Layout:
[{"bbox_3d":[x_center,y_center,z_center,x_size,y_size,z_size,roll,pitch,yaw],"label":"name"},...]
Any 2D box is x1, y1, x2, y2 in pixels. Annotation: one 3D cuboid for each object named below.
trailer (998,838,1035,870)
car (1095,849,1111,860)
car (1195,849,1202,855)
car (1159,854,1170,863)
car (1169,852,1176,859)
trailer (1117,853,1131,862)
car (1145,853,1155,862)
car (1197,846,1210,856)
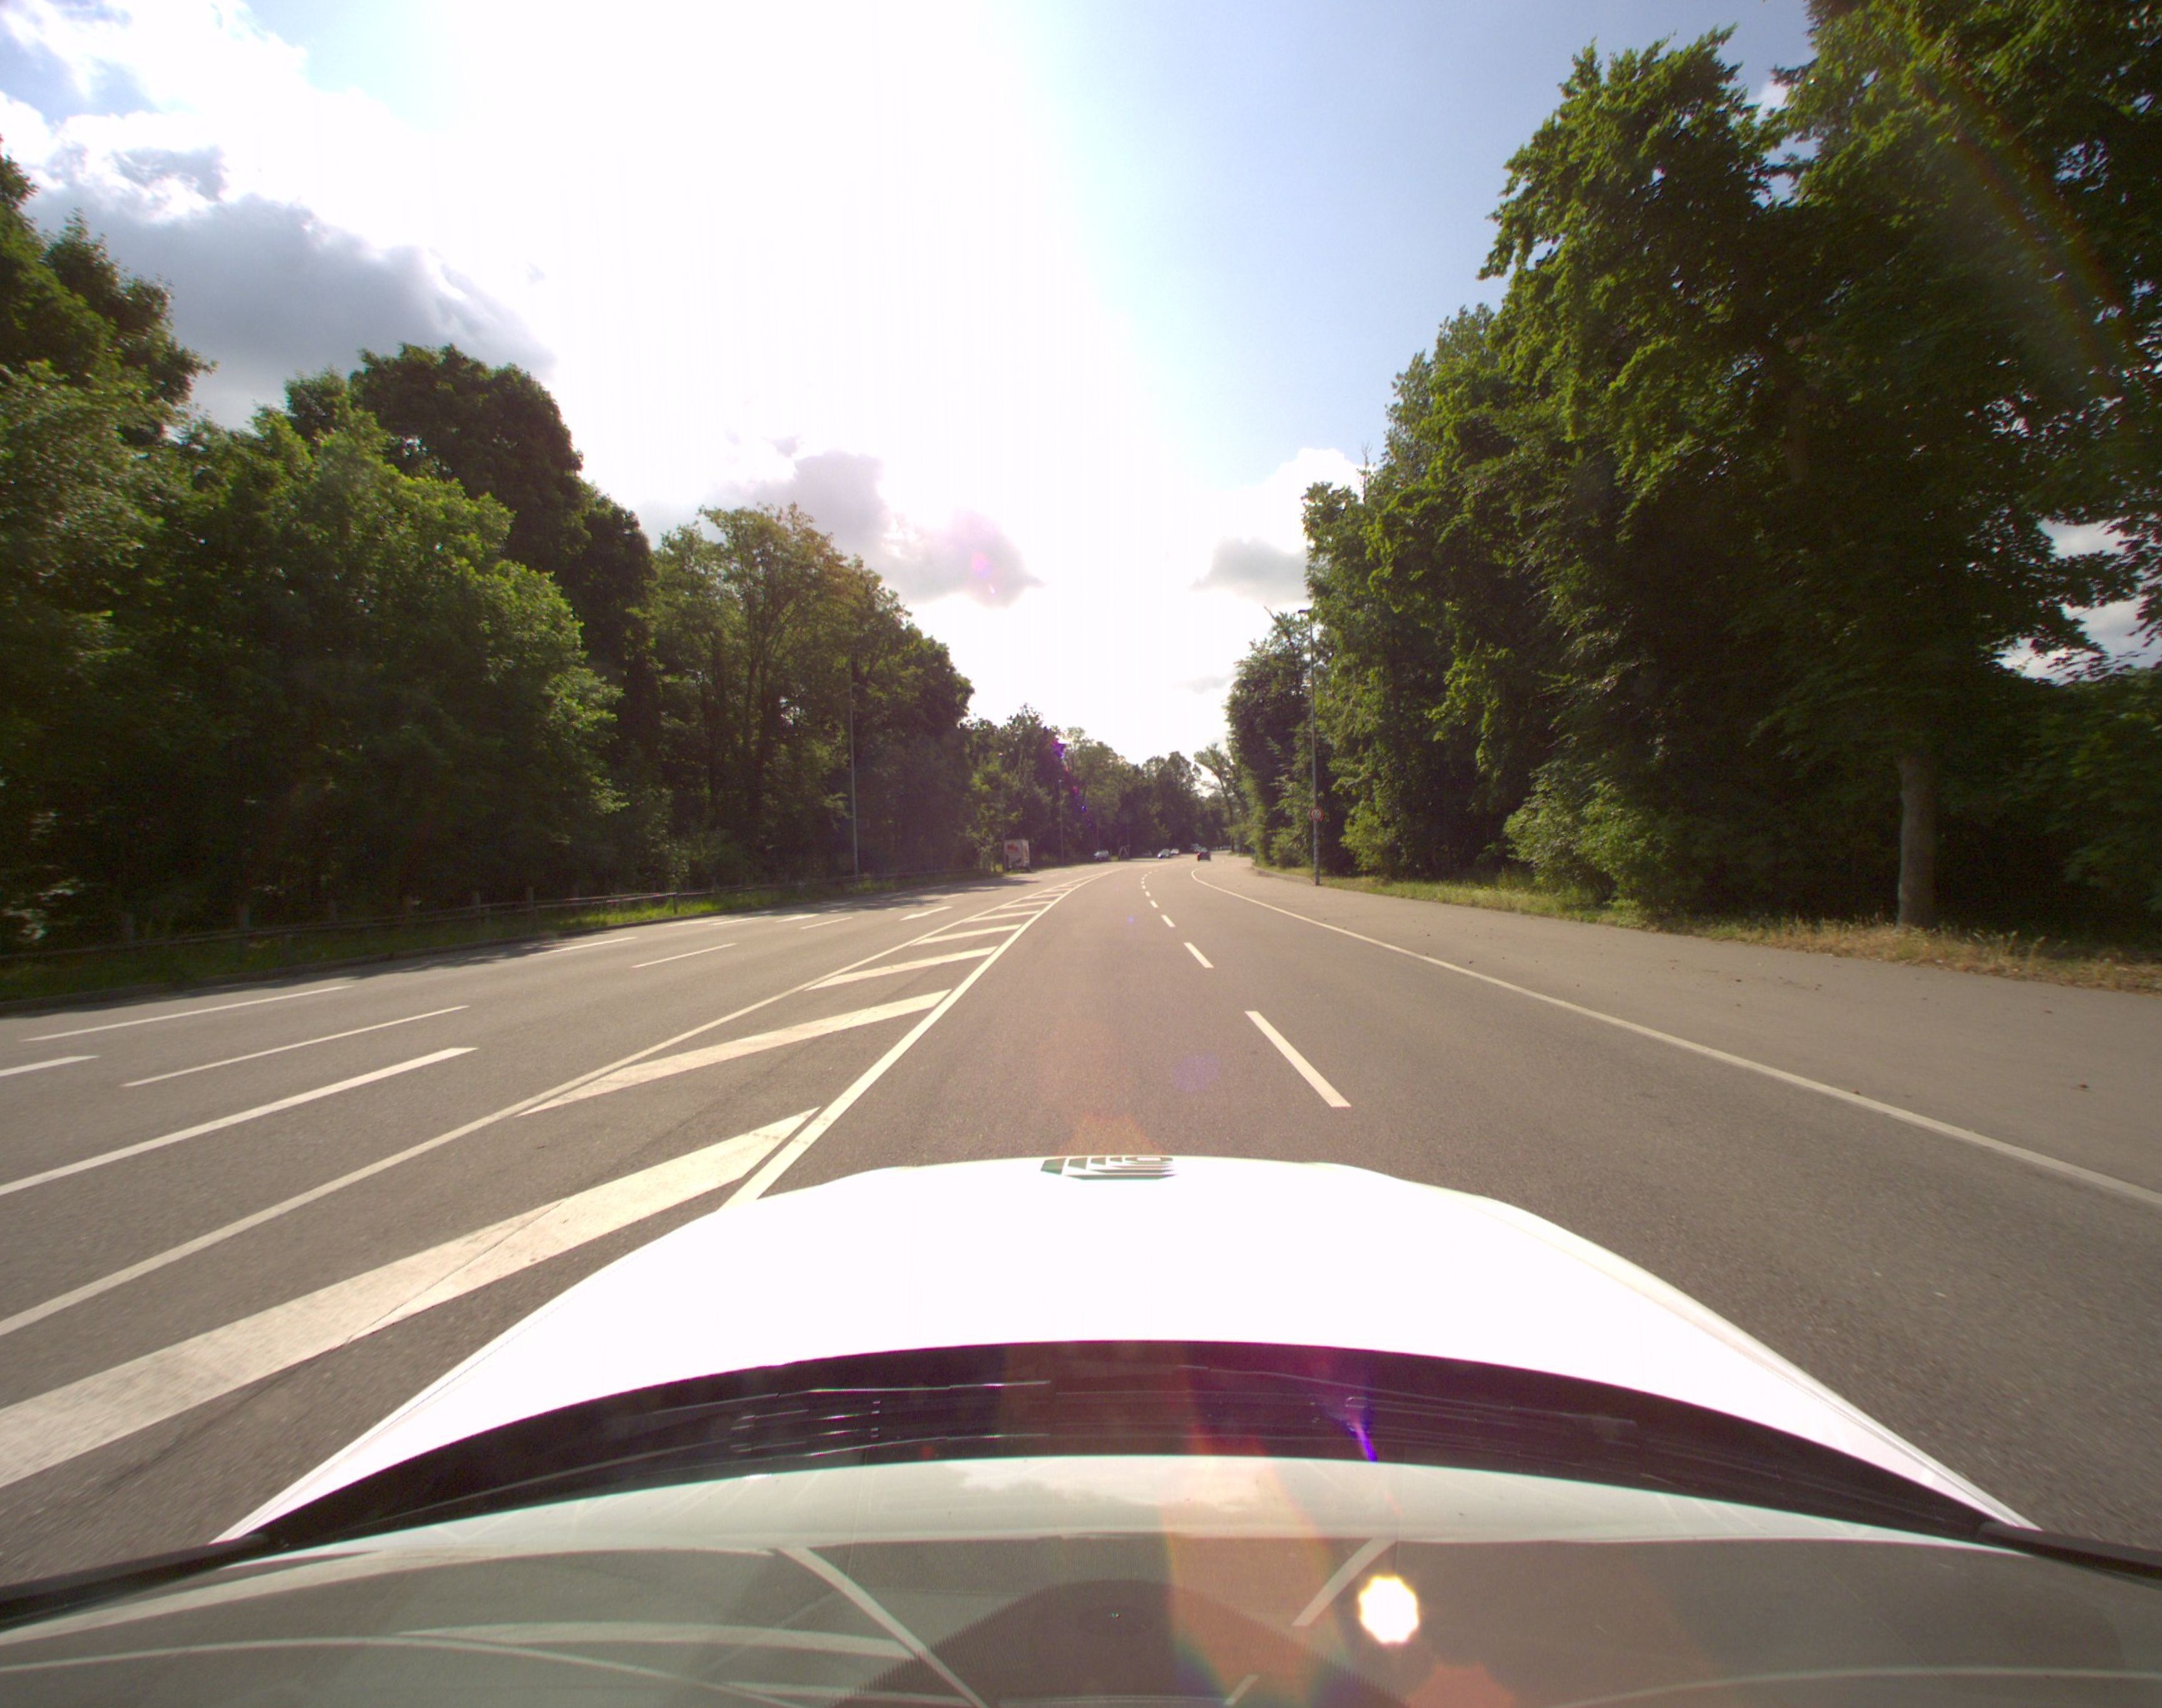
[{"bbox_3d":[-4.915,-0.013,62.670,1.983,2.389,4.008,-1,0,7],"label":"trailer"},{"bbox_3d":[2.973,0.093,111.008,1.493,1.446,3.542,-1,0,13],"label":"car"},{"bbox_3d":[31.975,-0.545,221.814,1.493,1.446,3.541,-1,0,12],"label":"car"},{"bbox_3d":[14.564,0.768,142.175,1.493,1.446,3.542,-1,0,13],"label":"car"},{"bbox_3d":[20.399,0.350,180.967,1.496,1.446,3.535,-1,0,6],"label":"car"},{"bbox_3d":[7.047,0.593,133.505,1.705,1.355,3.744,-1,0,12],"label":"trailer"},{"bbox_3d":[13.698,0.668,161.275,1.913,1.855,4.006,-1,0,5],"label":"car"},{"bbox_3d":[17.099,-0.390,113.414,1.587,1.378,3.989,-1,0,12],"label":"car"}]
